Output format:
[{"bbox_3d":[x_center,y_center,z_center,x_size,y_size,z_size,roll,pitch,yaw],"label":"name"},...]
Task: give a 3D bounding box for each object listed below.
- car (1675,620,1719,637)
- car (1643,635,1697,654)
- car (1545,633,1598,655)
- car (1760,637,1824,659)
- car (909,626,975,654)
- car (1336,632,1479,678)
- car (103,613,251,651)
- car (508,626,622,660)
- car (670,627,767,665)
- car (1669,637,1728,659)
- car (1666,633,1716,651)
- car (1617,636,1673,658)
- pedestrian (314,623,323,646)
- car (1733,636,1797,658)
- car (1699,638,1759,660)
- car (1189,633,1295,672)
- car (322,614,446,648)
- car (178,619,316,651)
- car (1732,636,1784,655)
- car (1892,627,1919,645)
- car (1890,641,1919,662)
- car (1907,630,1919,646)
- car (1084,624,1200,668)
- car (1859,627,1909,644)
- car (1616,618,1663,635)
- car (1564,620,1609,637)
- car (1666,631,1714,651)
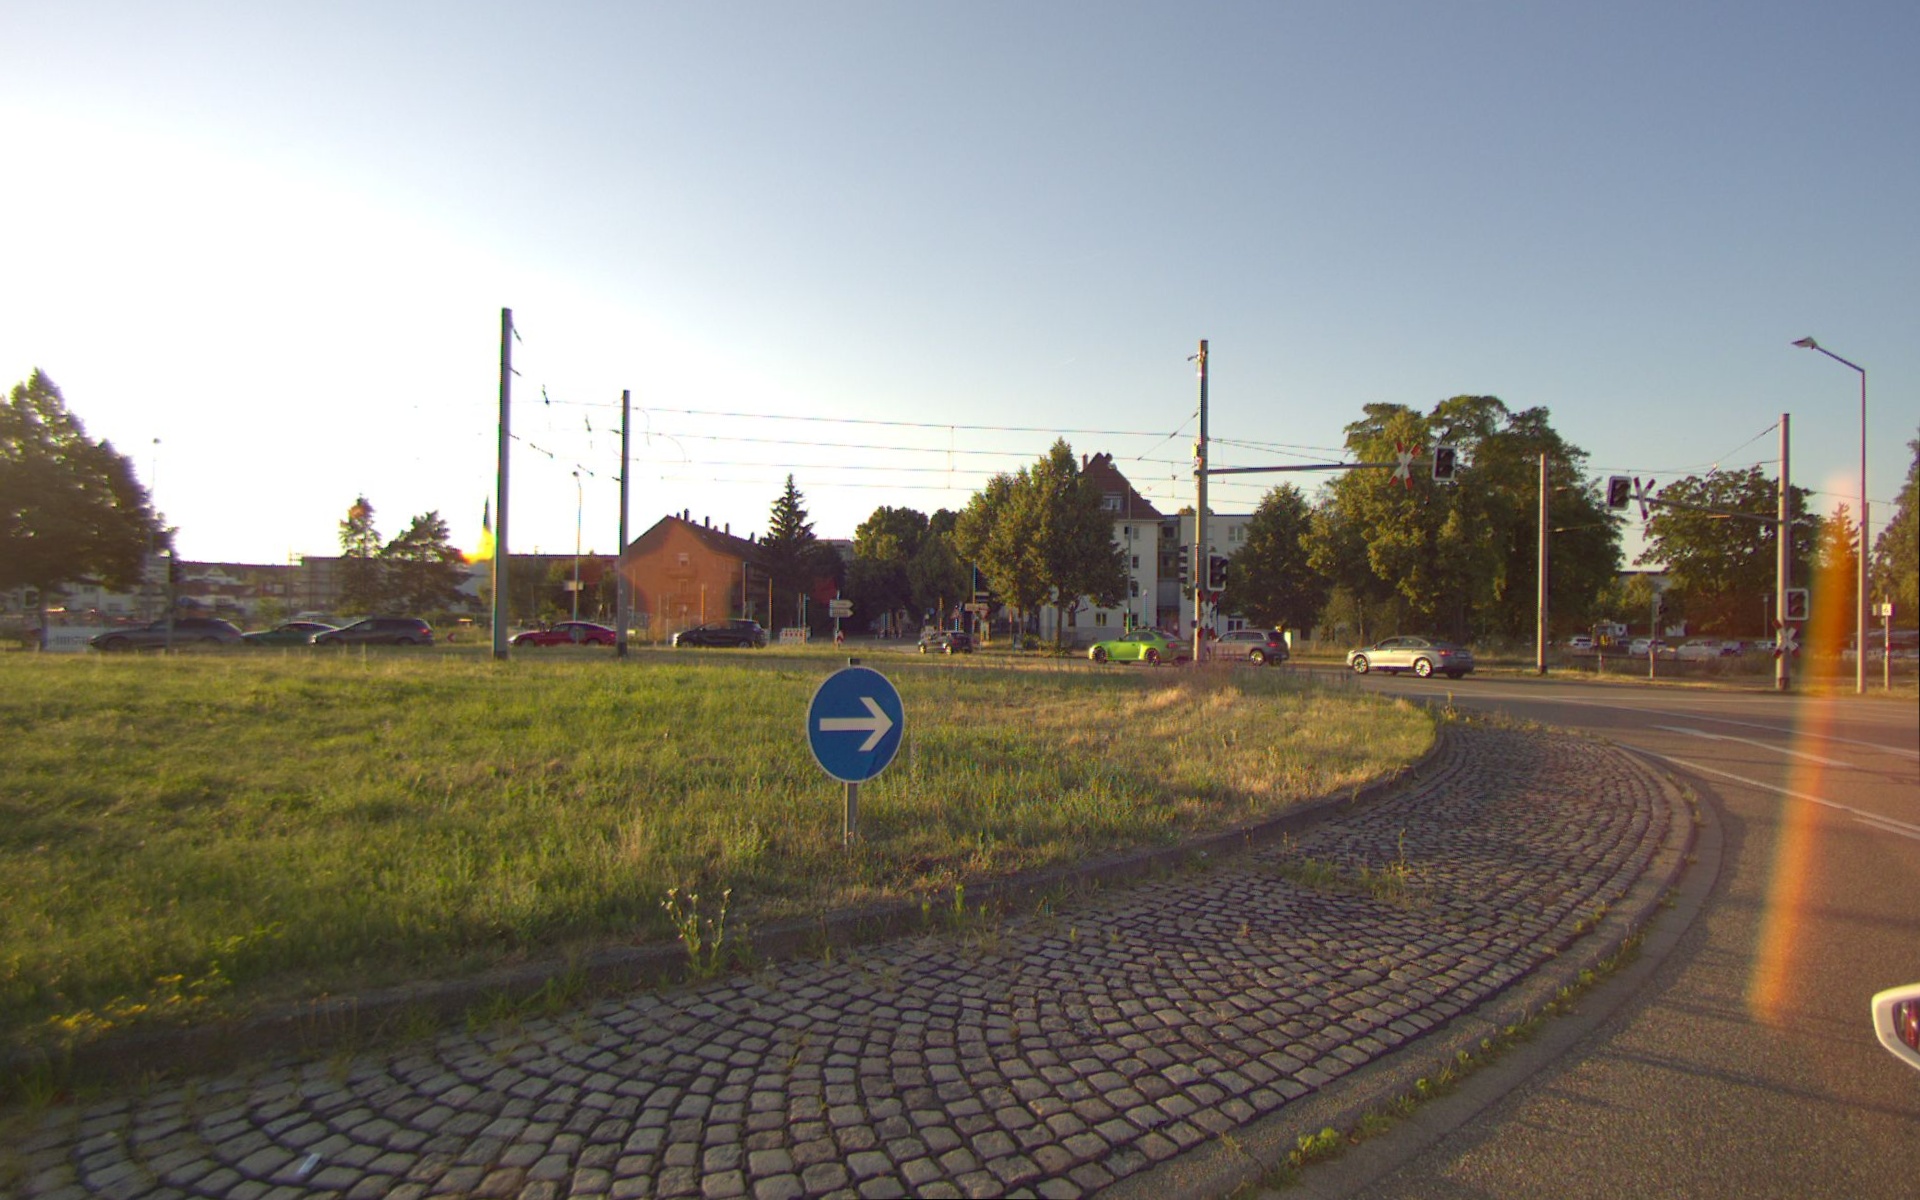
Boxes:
[{"bbox_3d":[93.183,3.593,127.034,4.033,2.040,2.001,1,-1,4],"label":"car"},{"bbox_3d":[69.190,4.332,97.933,3.919,1.684,1.904,1,-1,5],"label":"car"},{"bbox_3d":[49.395,3.546,81.230,1.960,1.625,4.002,1,-1,3],"label":"car"},{"bbox_3d":[66.349,3.790,80.172,1.960,1.625,4.002,1,-1,3],"label":"car"},{"bbox_3d":[-1.091,2.380,59.523,1.681,1.372,3.954,-5,0,-41],"label":"car"},{"bbox_3d":[16.117,1.954,36.447,1.862,1.483,4.640,1,-1,-26],"label":"car"},{"bbox_3d":[-30.681,1.258,39.564,4.299,1.394,1.985,1,-1,-29],"label":"car"},{"bbox_3d":[-17.572,1.914,44.912,4.416,1.410,1.892,1,-1,-10],"label":"car"},{"bbox_3d":[-10.922,2.080,45.668,3.921,1.605,1.895,1,-1,-1],"label":"car"},{"bbox_3d":[59.497,3.852,81.039,1.960,1.625,4.002,1,-1,3],"label":"car"},{"bbox_3d":[73.141,4.191,100.578,3.934,1.684,1.994,0,-1,35],"label":"car"},{"bbox_3d":[54.737,3.704,80.338,1.960,1.625,4.002,1,-1,3],"label":"car"},{"bbox_3d":[-38.068,2.056,59.618,0.392,1.325,0.426,1,-1,-30],"label":"pedestrian"},{"bbox_3d":[63.996,3.718,79.933,1.960,1.625,4.002,1,-1,3],"label":"car"},{"bbox_3d":[61.616,3.913,80.562,1.960,1.625,4.002,1,-1,3],"label":"car"},{"bbox_3d":[13.243,2.421,47.375,1.984,1.659,4.473,1,-1,-40],"label":"car"},{"bbox_3d":[-24.318,1.316,42.565,4.323,1.394,1.989,1,-1,-24],"label":"car"},{"bbox_3d":[-32.154,1.591,45.479,4.662,1.389,1.991,1,-1,-19],"label":"car"},{"bbox_3d":[77.327,4.421,97.417,3.938,1.684,1.894,0,-1,39],"label":"car"},{"bbox_3d":[107.431,4.031,112.601,3.919,2.040,2.001,1,-1,11],"label":"car"},{"bbox_3d":[76.333,4.090,79.477,1.960,1.625,4.002,1,-1,3],"label":"car"},{"bbox_3d":[105.564,4.114,108.724,1.971,1.728,3.979,1,-1,-22],"label":"car"},{"bbox_3d":[7.358,1.828,40.877,1.984,1.600,4.433,2,-1,-40],"label":"car"},{"bbox_3d":[108.011,4.131,117.452,3.919,1.840,2.001,1,-1,5],"label":"car"},{"bbox_3d":[86.232,3.387,127.443,4.505,2.040,2.001,1,-1,5],"label":"car"},{"bbox_3d":[79.558,3.656,127.626,4.507,2.040,2.000,1,-1,0],"label":"car"},{"bbox_3d":[75.828,4.235,104.415,3.934,2.040,1.994,0,-1,35],"label":"car"}]
